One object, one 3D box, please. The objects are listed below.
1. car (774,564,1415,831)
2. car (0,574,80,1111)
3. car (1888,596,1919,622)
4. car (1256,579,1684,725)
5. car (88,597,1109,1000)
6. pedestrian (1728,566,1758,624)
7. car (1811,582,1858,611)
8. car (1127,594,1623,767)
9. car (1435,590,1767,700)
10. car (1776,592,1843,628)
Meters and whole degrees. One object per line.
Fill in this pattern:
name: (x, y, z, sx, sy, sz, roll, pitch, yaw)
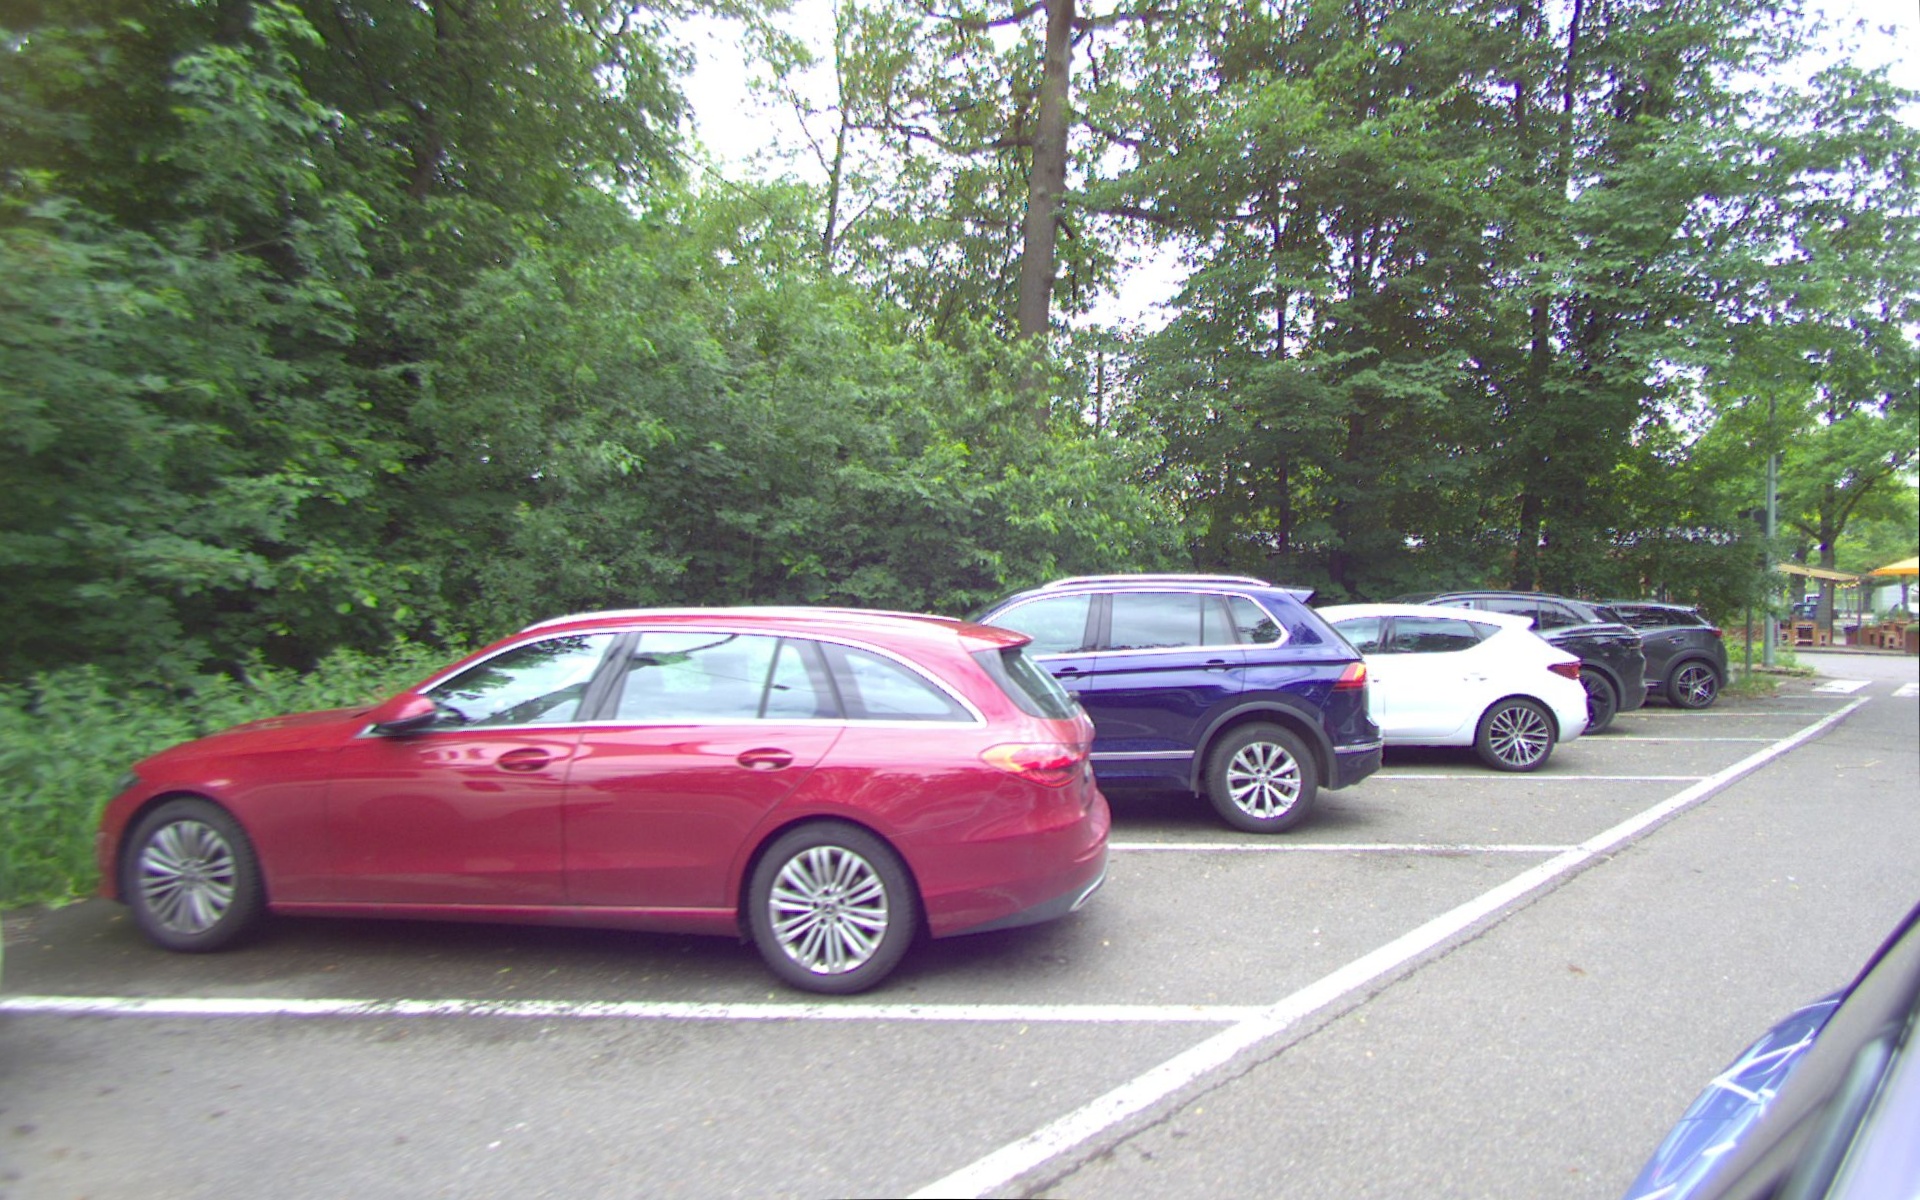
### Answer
car: (0.879, 0.586, 7.366, 4.049, 1.638, 1.839, 0, 0, 7)
car: (-4.527, 0.677, 2.418, 3.520, 1.524, 1.732, 1, 0, 6)
car: (68.380, 0.621, 72.589, 1.862, 1.802, 4.248, 1, 0, 31)
car: (5.904, 0.566, 12.155, 4.125, 1.600, 1.957, 0, 0, 2)
car: (-1.435, 0.711, 4.892, 4.224, 1.431, 1.924, 0, 0, 8)
pedestrian: (25.528, -0.163, 33.008, 0.746, 1.854, 0.700, 0, 0, 40)
car: (64.337, -0.259, 74.536, 1.862, 2.065, 4.539, 1, 0, 31)
car: (3.720, 0.677, 9.769, 4.049, 1.457, 1.866, 0, 0, 7)
car: (9.213, 0.609, 14.789, 3.722, 1.511, 1.698, 0, 0, 3)
car: (39.727, 0.449, 47.404, 1.987, 1.571, 3.951, 1, 0, 34)
